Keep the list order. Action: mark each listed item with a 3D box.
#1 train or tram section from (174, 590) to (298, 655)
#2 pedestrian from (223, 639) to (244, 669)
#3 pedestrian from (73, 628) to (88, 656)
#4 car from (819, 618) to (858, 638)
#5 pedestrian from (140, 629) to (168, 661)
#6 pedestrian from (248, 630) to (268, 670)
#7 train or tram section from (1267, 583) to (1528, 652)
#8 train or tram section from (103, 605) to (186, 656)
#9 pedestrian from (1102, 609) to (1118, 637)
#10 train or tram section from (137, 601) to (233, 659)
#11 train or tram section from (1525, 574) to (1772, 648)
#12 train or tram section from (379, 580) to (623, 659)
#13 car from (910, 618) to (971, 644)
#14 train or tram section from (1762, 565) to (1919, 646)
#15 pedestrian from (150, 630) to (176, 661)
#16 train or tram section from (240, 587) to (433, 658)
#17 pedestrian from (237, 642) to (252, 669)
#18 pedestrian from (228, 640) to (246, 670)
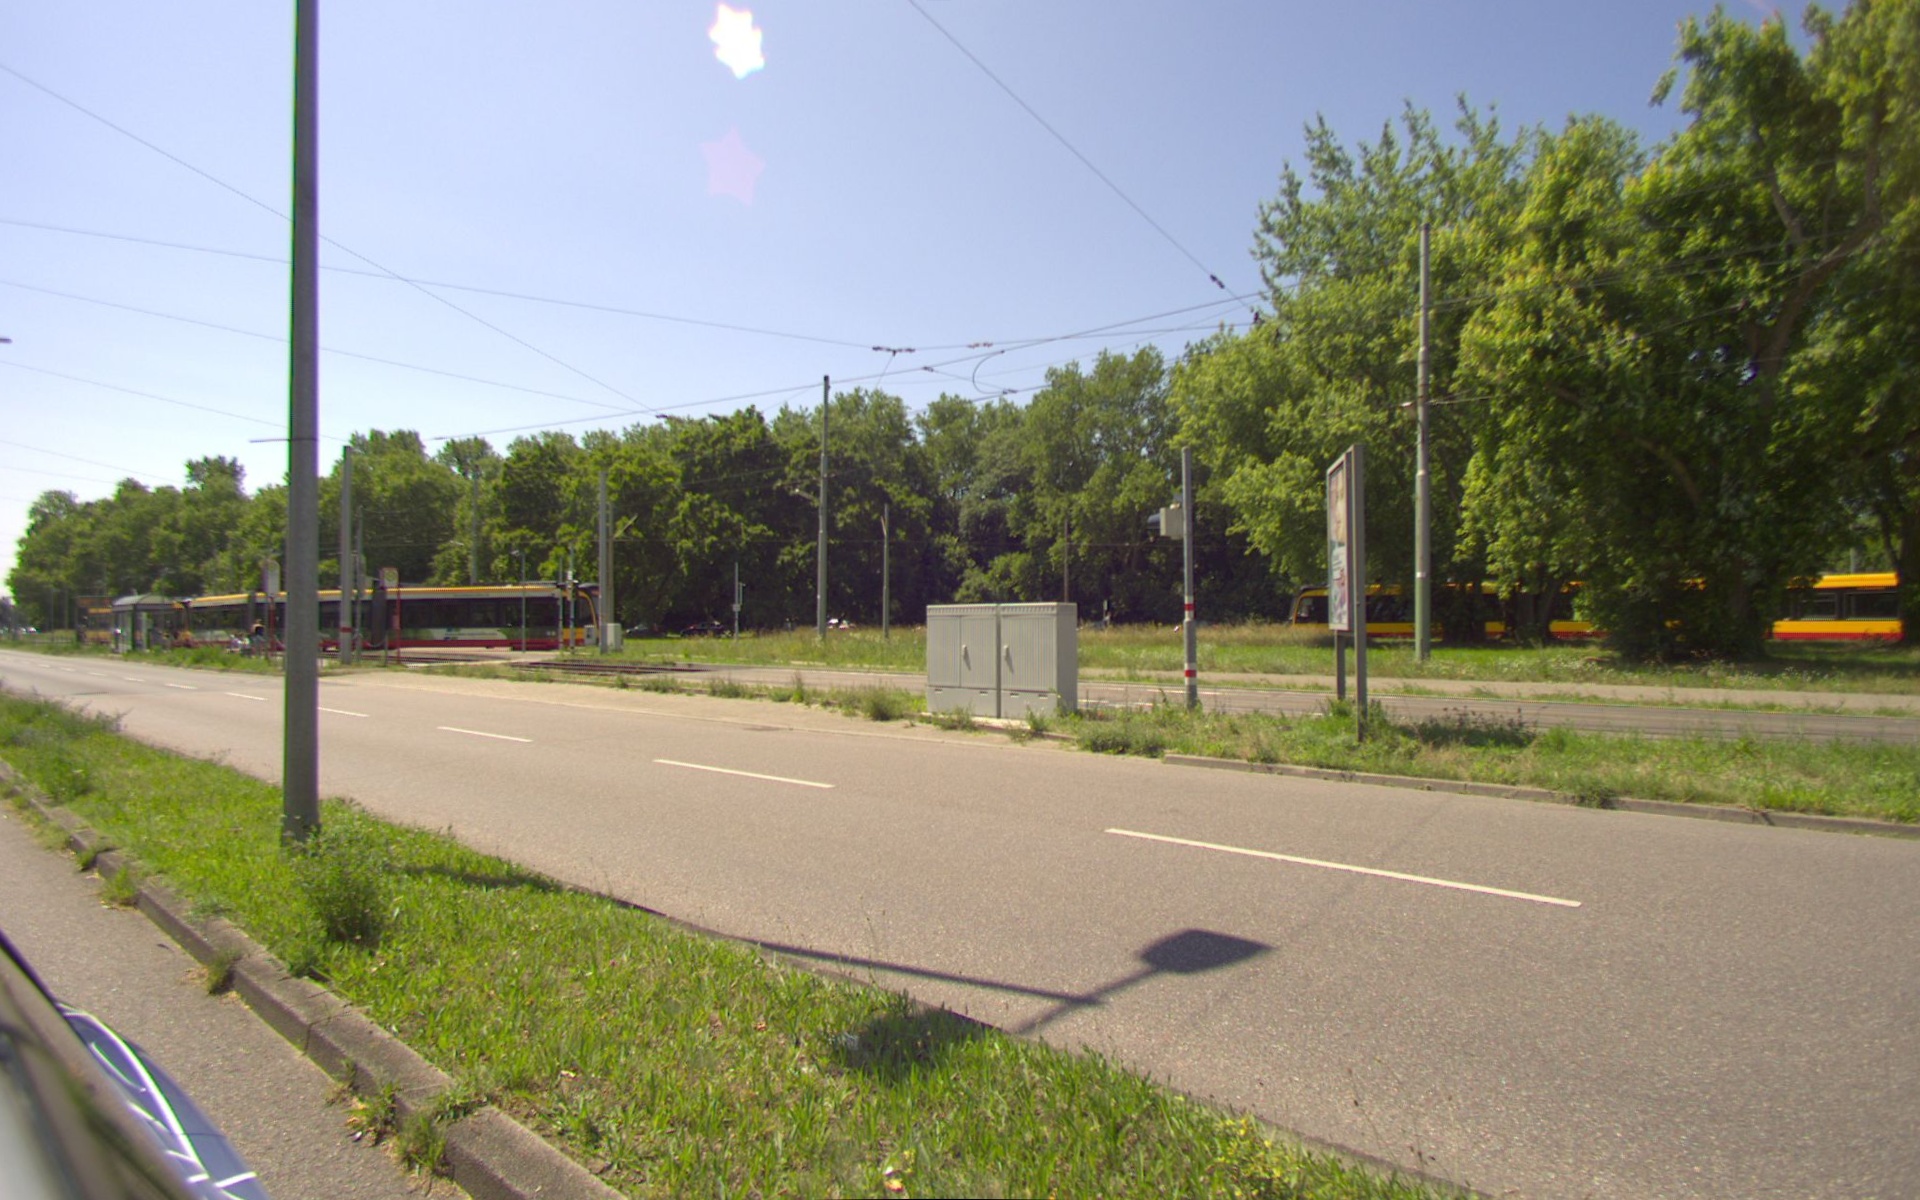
[{"bbox_3d":[-45.681,1.470,63.562,13.887,3.652,3.013,-2,-1,40],"label":"train or tram section"},{"bbox_3d":[-29.638,2.199,41.274,0.536,1.198,0.575,-2,-1,39],"label":"pedestrian"},{"bbox_3d":[-57.386,2.737,66.042,0.775,1.804,0.625,-2,-1,39],"label":"pedestrian"},{"bbox_3d":[-10.217,2.373,85.081,3.057,1.608,1.375,-2,-1,28],"label":"car"},{"bbox_3d":[-41.112,2.295,51.630,0.984,1.558,0.921,-2,-1,39],"label":"pedestrian"},{"bbox_3d":[-28.307,2.026,40.809,0.582,1.577,0.529,-2,-1,40],"label":"pedestrian"},{"bbox_3d":[24.538,1.013,57.576,13.125,3.492,3.035,-2,0,12],"label":"train or tram section"},{"bbox_3d":[-65.518,2.484,81.188,12.589,3.770,3.012,-2,-1,41],"label":"train or tram section"},{"bbox_3d":[8.914,1.367,60.175,0.778,1.586,0.692,-2,-1,-5],"label":"pedestrian"},{"bbox_3d":[-55.727,2.148,72.581,13.256,3.795,3.012,-2,-1,42],"label":"train or tram section"},{"bbox_3d":[35.186,0.651,52.301,10.193,3.492,3.012,-2,-1,33],"label":"train or tram section"},{"bbox_3d":[-23.927,1.047,52.693,12.330,3.652,3.040,-2,-1,14],"label":"train or tram section"},{"bbox_3d":[-1.421,2.290,74.113,3.973,1.741,1.985,-2,0,23],"label":"car"},{"bbox_3d":[43.010,0.181,43.688,2.995,3.492,12.785,-1,-1,-33],"label":"train or tram section"},{"bbox_3d":[-40.270,2.276,51.148,0.878,1.519,0.826,-2,-1,39],"label":"pedestrian"},{"bbox_3d":[-34.979,1.310,56.535,12.384,3.652,3.027,-2,-1,26],"label":"train or tram section"},{"bbox_3d":[-28.883,2.257,40.868,0.377,1.066,0.379,-2,-1,39],"label":"pedestrian"},{"bbox_3d":[-29.279,2.230,40.960,0.400,1.198,0.489,-2,-1,40],"label":"pedestrian"}]
